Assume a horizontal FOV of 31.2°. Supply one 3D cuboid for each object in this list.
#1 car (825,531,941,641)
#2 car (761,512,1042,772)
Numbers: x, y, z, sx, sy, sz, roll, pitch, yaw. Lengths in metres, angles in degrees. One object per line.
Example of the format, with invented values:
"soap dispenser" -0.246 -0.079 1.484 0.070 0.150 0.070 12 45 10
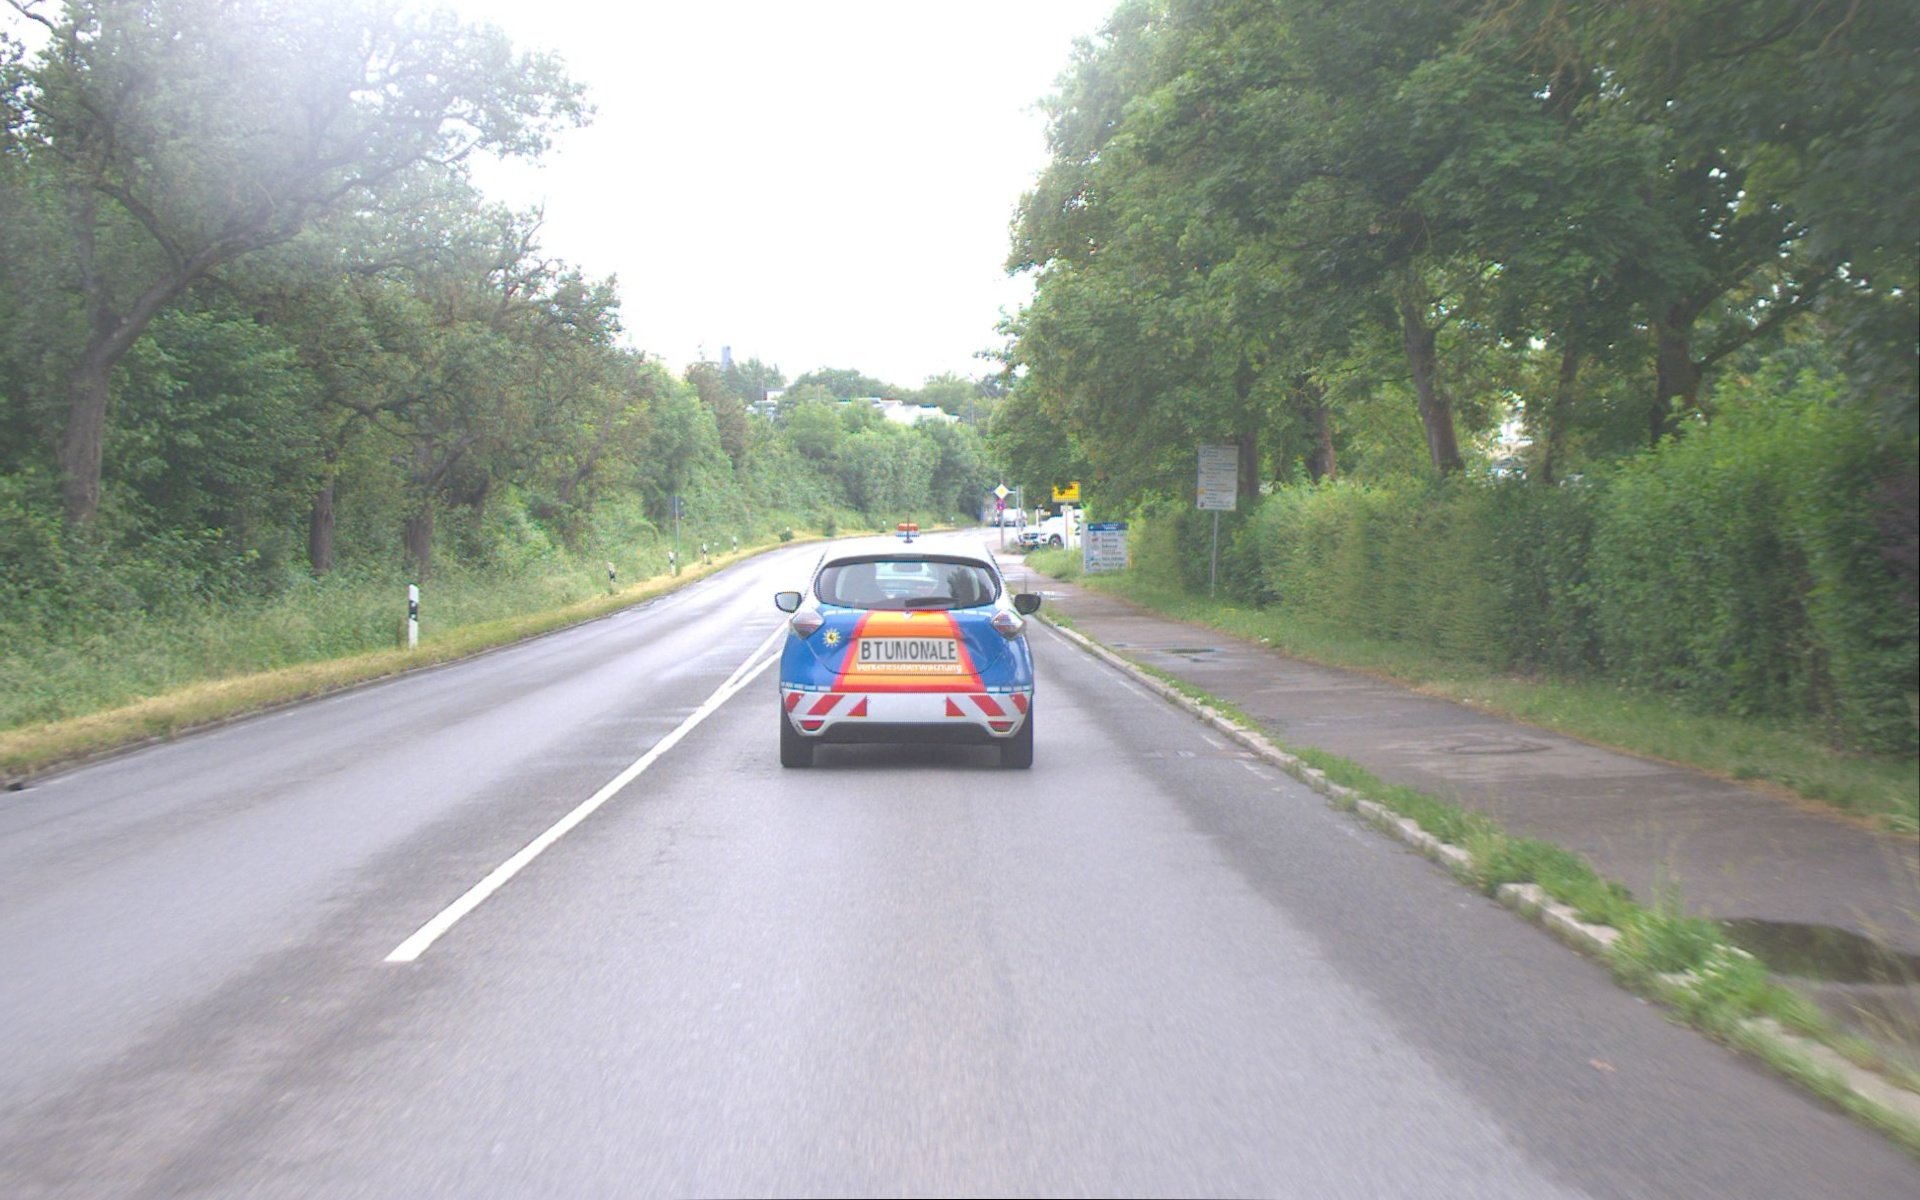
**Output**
"car" -1.177 -0.236 52.589 1.694 1.590 3.856 1 1 -1
"car" -0.414 0.242 24.299 1.806 1.662 3.856 1 1 -1
